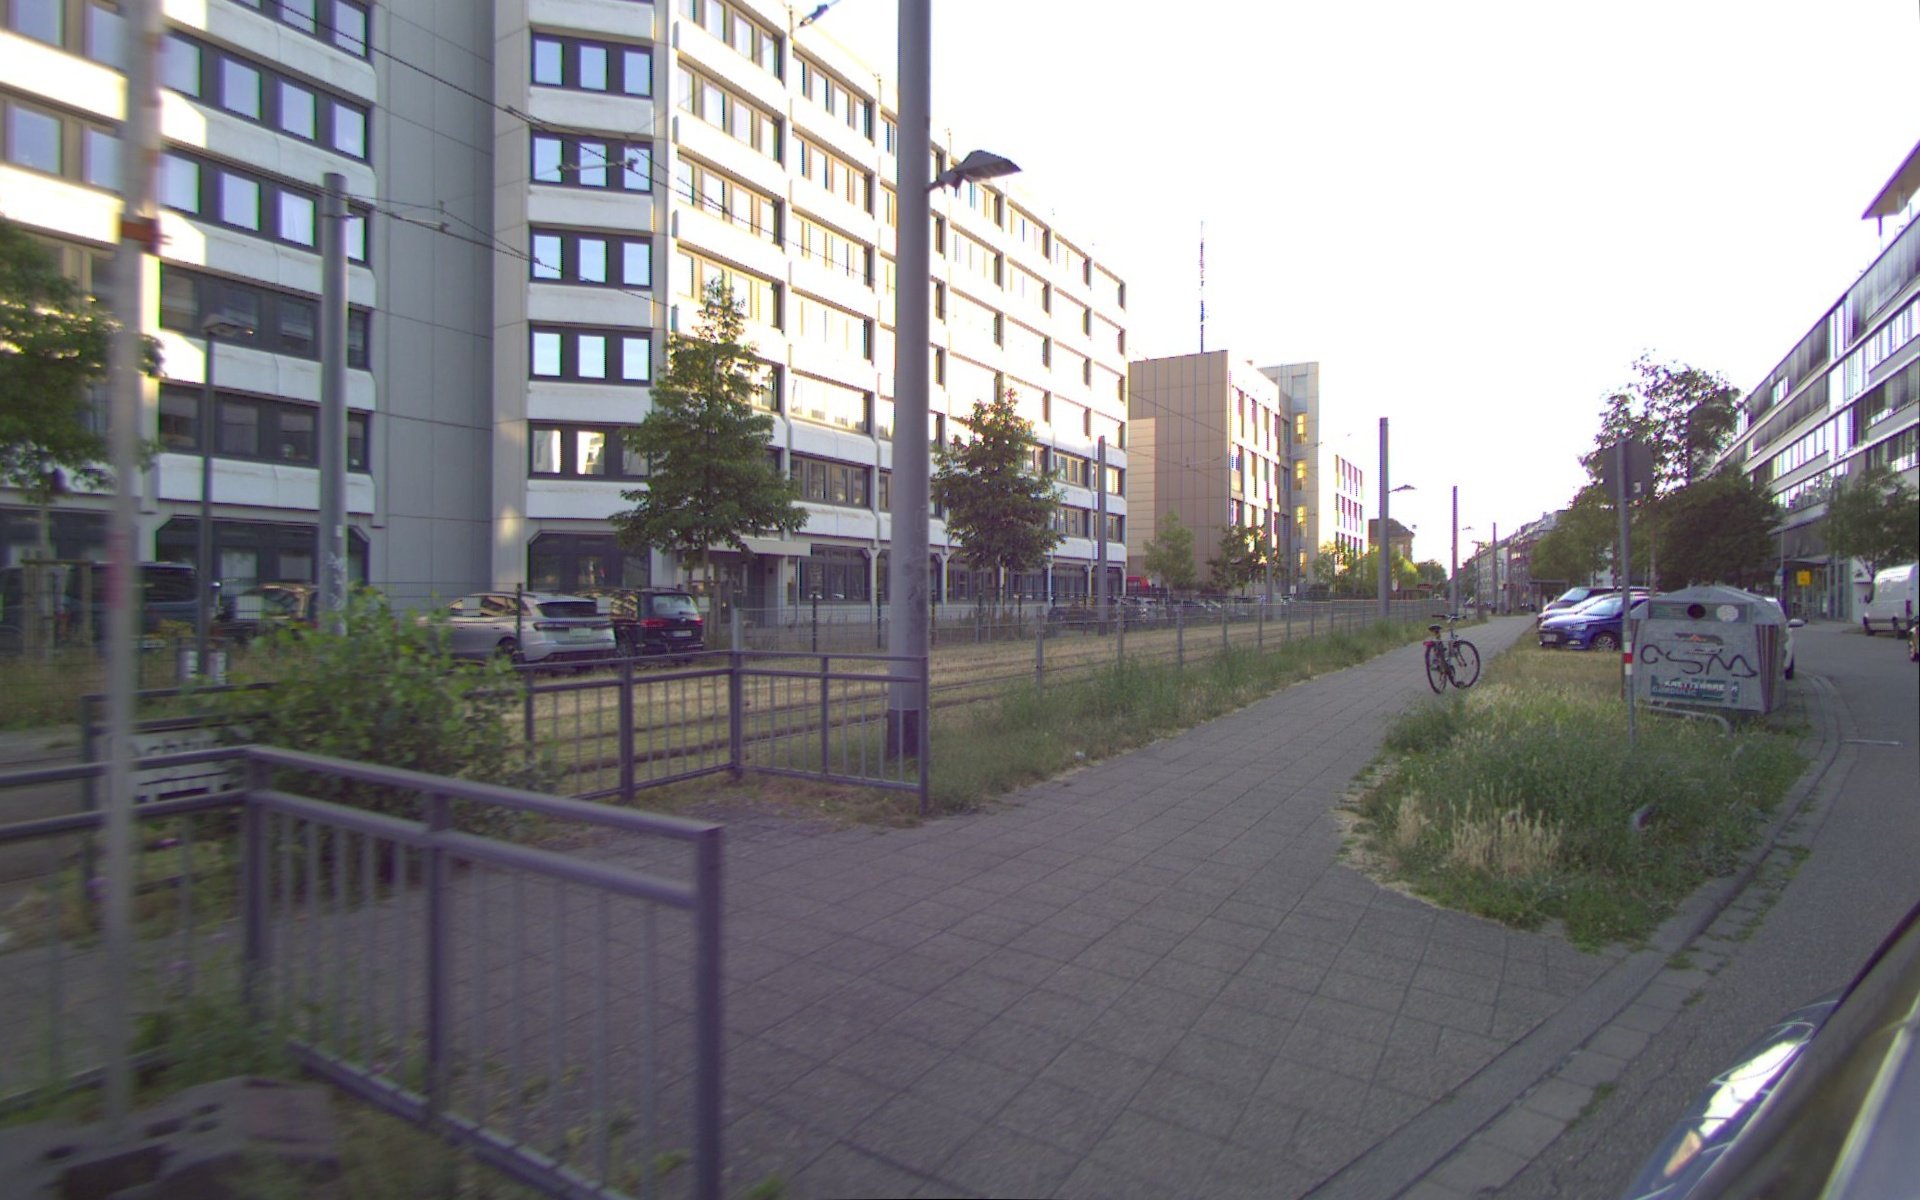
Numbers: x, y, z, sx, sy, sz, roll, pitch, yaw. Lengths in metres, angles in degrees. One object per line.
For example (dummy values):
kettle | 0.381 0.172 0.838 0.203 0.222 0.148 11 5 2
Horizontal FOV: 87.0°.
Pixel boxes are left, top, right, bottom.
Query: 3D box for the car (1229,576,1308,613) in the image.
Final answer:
car | 17.543 -0.284 57.492 3.966 2.039 1.979 0 0 30

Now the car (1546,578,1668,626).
car | 27.301 0.084 42.770 4.091 1.984 1.719 0 0 -3

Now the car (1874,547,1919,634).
car | 34.800 -0.304 36.224 1.991 2.912 6.183 1 1 32

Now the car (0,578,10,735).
car | -14.605 0.736 13.510 3.971 2.039 1.976 0 0 34

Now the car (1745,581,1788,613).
car | 53.569 -0.189 67.301 1.987 2.039 3.950 0 0 35

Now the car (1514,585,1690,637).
car | 17.877 0.287 28.279 3.919 1.393 1.720 0 0 -6

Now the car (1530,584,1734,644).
car | 16.309 0.319 24.669 3.919 1.393 1.720 0 0 -6

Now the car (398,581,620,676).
car | -8.560 0.477 19.093 4.374 1.613 1.796 0 0 34

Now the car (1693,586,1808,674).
car | 15.111 0.510 19.397 1.623 1.531 3.370 0 0 38

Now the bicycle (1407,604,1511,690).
bicycle | 7.170 0.644 14.505 1.889 1.149 0.542 0 0 -37

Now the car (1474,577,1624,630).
car | 19.193 0.107 33.081 3.921 1.665 1.719 0 0 -3

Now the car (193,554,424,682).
car | -11.674 0.282 18.071 4.244 2.039 1.976 0 0 34

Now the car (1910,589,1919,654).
car | 22.378 0.492 21.789 1.846 1.517 4.622 -2 -1 31

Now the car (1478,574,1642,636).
car | 17.912 0.143 30.326 3.921 1.779 1.719 0 0 -3

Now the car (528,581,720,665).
car | -7.133 0.443 21.379 3.971 1.613 1.796 0 0 34

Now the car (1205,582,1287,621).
car | 15.615 0.072 55.246 3.966 2.039 1.979 0 0 30

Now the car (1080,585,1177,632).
car | 7.711 0.371 46.415 3.966 2.039 1.979 0 0 30

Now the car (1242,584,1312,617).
car | 20.365 0.041 65.081 3.966 2.039 1.979 0 0 30

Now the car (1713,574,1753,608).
car | 61.051 -0.674 80.007 1.983 2.618 3.958 0 0 30

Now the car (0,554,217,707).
car | -13.302 0.404 15.420 3.971 2.039 1.976 0 0 34
